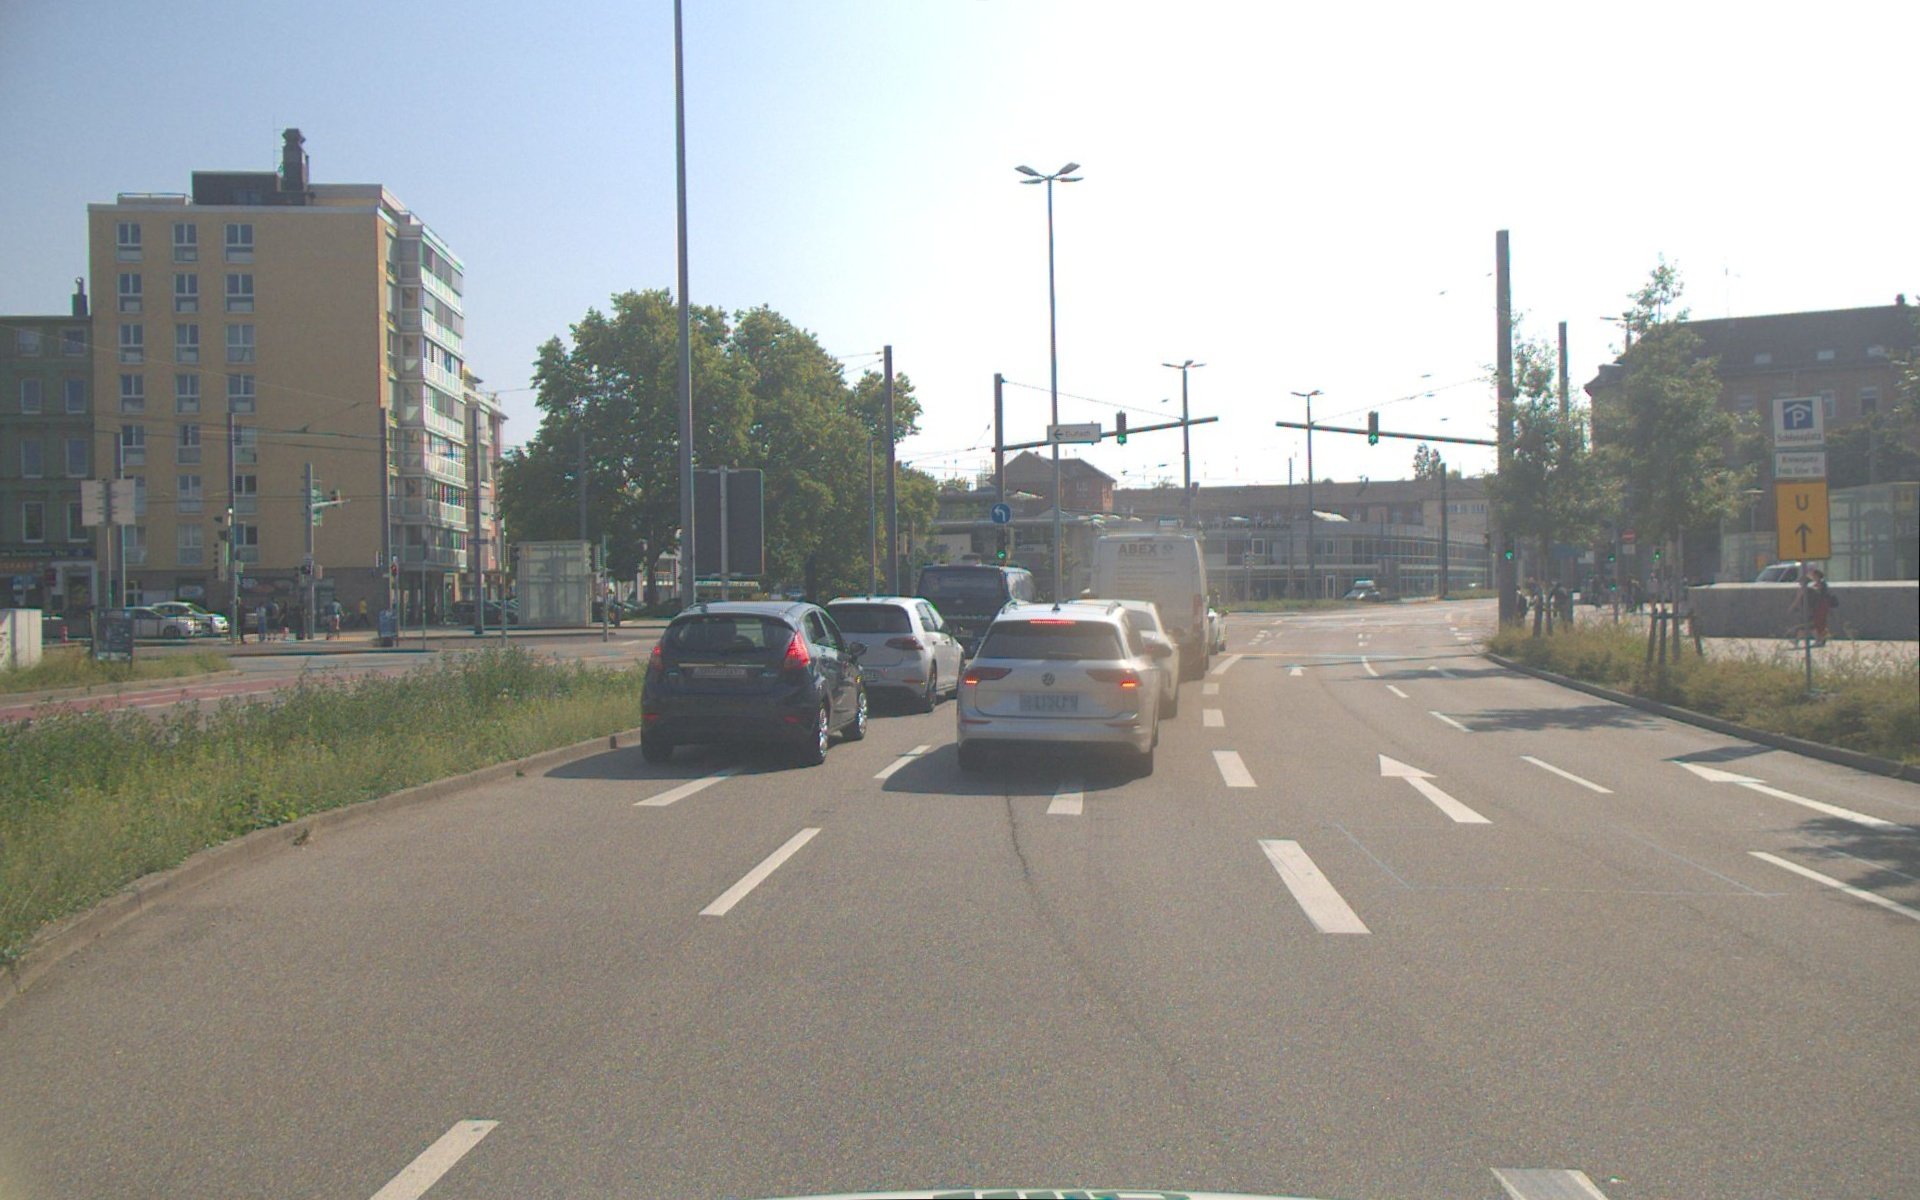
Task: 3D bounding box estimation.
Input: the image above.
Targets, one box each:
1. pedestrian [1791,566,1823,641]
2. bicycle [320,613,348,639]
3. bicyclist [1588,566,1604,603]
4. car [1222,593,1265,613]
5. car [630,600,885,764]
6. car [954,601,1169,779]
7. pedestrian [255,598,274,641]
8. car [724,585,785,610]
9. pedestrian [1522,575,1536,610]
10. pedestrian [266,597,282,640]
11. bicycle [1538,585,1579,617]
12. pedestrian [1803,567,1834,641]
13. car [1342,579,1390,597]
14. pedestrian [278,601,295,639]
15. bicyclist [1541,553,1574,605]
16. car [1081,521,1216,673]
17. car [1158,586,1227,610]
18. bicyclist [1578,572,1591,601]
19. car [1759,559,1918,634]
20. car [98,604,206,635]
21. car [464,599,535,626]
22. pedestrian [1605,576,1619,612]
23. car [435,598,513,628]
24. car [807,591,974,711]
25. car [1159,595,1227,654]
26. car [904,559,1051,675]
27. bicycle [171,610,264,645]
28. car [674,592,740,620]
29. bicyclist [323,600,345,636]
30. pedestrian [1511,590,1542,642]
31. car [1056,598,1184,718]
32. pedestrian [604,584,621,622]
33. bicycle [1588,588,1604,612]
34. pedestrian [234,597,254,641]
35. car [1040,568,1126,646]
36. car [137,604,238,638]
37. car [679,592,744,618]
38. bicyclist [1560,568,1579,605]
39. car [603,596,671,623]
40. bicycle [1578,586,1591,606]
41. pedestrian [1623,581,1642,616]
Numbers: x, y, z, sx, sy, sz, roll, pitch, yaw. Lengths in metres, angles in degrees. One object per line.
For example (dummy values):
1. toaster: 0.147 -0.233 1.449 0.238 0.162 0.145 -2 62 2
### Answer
1. pedestrian: 19.110 0.082 37.328 0.603 1.667 0.533 -1 0 28
2. bicycle: -25.554 1.056 67.525 0.714 1.001 1.728 -1 0 -9
3. bicyclist: 31.604 -0.786 82.152 0.731 1.817 1.113 -1 0 21
4. car: 21.892 0.200 127.757 1.957 1.467 3.991 -1 0 32
5. car: -1.831 0.707 16.152 1.665 1.392 3.966 0 0 5
6. car: 1.035 0.730 15.086 1.649 1.412 3.637 0 0 8
7. pedestrian: -27.946 0.785 66.438 0.445 1.714 0.548 0 2 7
8. car: -13.587 -0.184 109.369 3.910 1.585 1.726 -1 0 -6
9. pedestrian: 33.745 -0.468 98.070 0.731 2.049 0.806 -1 0 22
10. pedestrian: -28.020 0.757 67.563 0.452 1.714 0.433 -3 3 -43
11. bicycle: 18.896 0.028 52.274 0.755 0.993 2.152 0 0 7
12. pedestrian: 19.612 0.088 37.784 0.603 1.657 0.533 -1 0 29
13. car: 33.352 -0.992 135.812 3.969 1.467 1.968 -1 0 -44
14. pedestrian: -27.647 0.805 67.918 0.495 1.513 0.433 -3 3 -43
15. bicyclist: 18.888 -0.656 52.288 0.755 1.606 0.991 0 0 7
16. car: 3.583 -0.041 30.731 2.142 2.594 4.687 0 0 11
17. car: 13.696 -0.119 97.692 3.883 1.366 1.931 -1 0 3
18. bicyclist: 40.238 -0.885 106.610 0.731 1.861 0.806 -1 0 22
19. car: 25.789 -0.137 48.615 3.916 2.048 1.749 -1 3 -11
20. car: -33.876 0.822 69.410 3.752 1.200 1.575 -1 -2 -2
21. car: -28.346 0.740 101.890 3.910 1.585 1.867 -1 0 -6
22. pedestrian: 37.693 -0.371 95.653 0.731 2.049 0.806 -1 0 22
23. car: -27.852 0.742 94.897 3.908 1.584 1.868 -1 3 -4
24. car: -0.851 0.624 22.263 1.457 1.440 3.651 -1 1 11
25. car: 5.969 0.600 42.154 1.602 1.428 3.690 0 0 10
26. car: 0.428 0.294 31.733 1.980 2.043 4.688 0 0 11
27. bicycle: -36.215 1.322 80.754 3.911 1.578 1.194 -1 3 -7
28. car: -16.055 0.380 104.931 3.906 1.646 1.813 -1 0 -1
29. bicyclist: -25.550 0.724 67.499 0.712 1.459 0.688 -1 0 -9
30. pedestrian: 15.329 0.420 44.752 0.622 1.386 0.634 -1 0 5
31. car: 2.161 0.699 21.663 1.457 1.427 3.945 0 0 8
32. pedestrian: -18.871 0.166 89.770 0.805 2.049 0.509 -1 0 -3
33. bicycle: 31.606 -0.009 82.162 0.731 1.168 2.867 -1 0 21
34. pedestrian: -28.555 0.740 65.995 0.445 1.714 0.547 0 3 19
35. car: 3.487 0.182 46.184 1.980 2.043 4.688 0 0 9
36. car: -33.941 0.907 72.770 3.664 1.417 1.585 -1 0 -5
37. car: -16.046 0.316 106.936 3.906 1.646 1.813 -1 0 -1
38. bicyclist: 25.433 -0.561 69.031 0.698 1.556 0.806 -1 0 22
39. car: -20.033 0.558 102.659 3.910 1.585 1.726 -1 0 -6
40. bicycle: 40.269 -0.256 106.638 0.724 1.239 2.246 -1 0 22
41. pedestrian: 29.899 -0.066 73.558 0.731 1.556 0.806 -1 0 22
